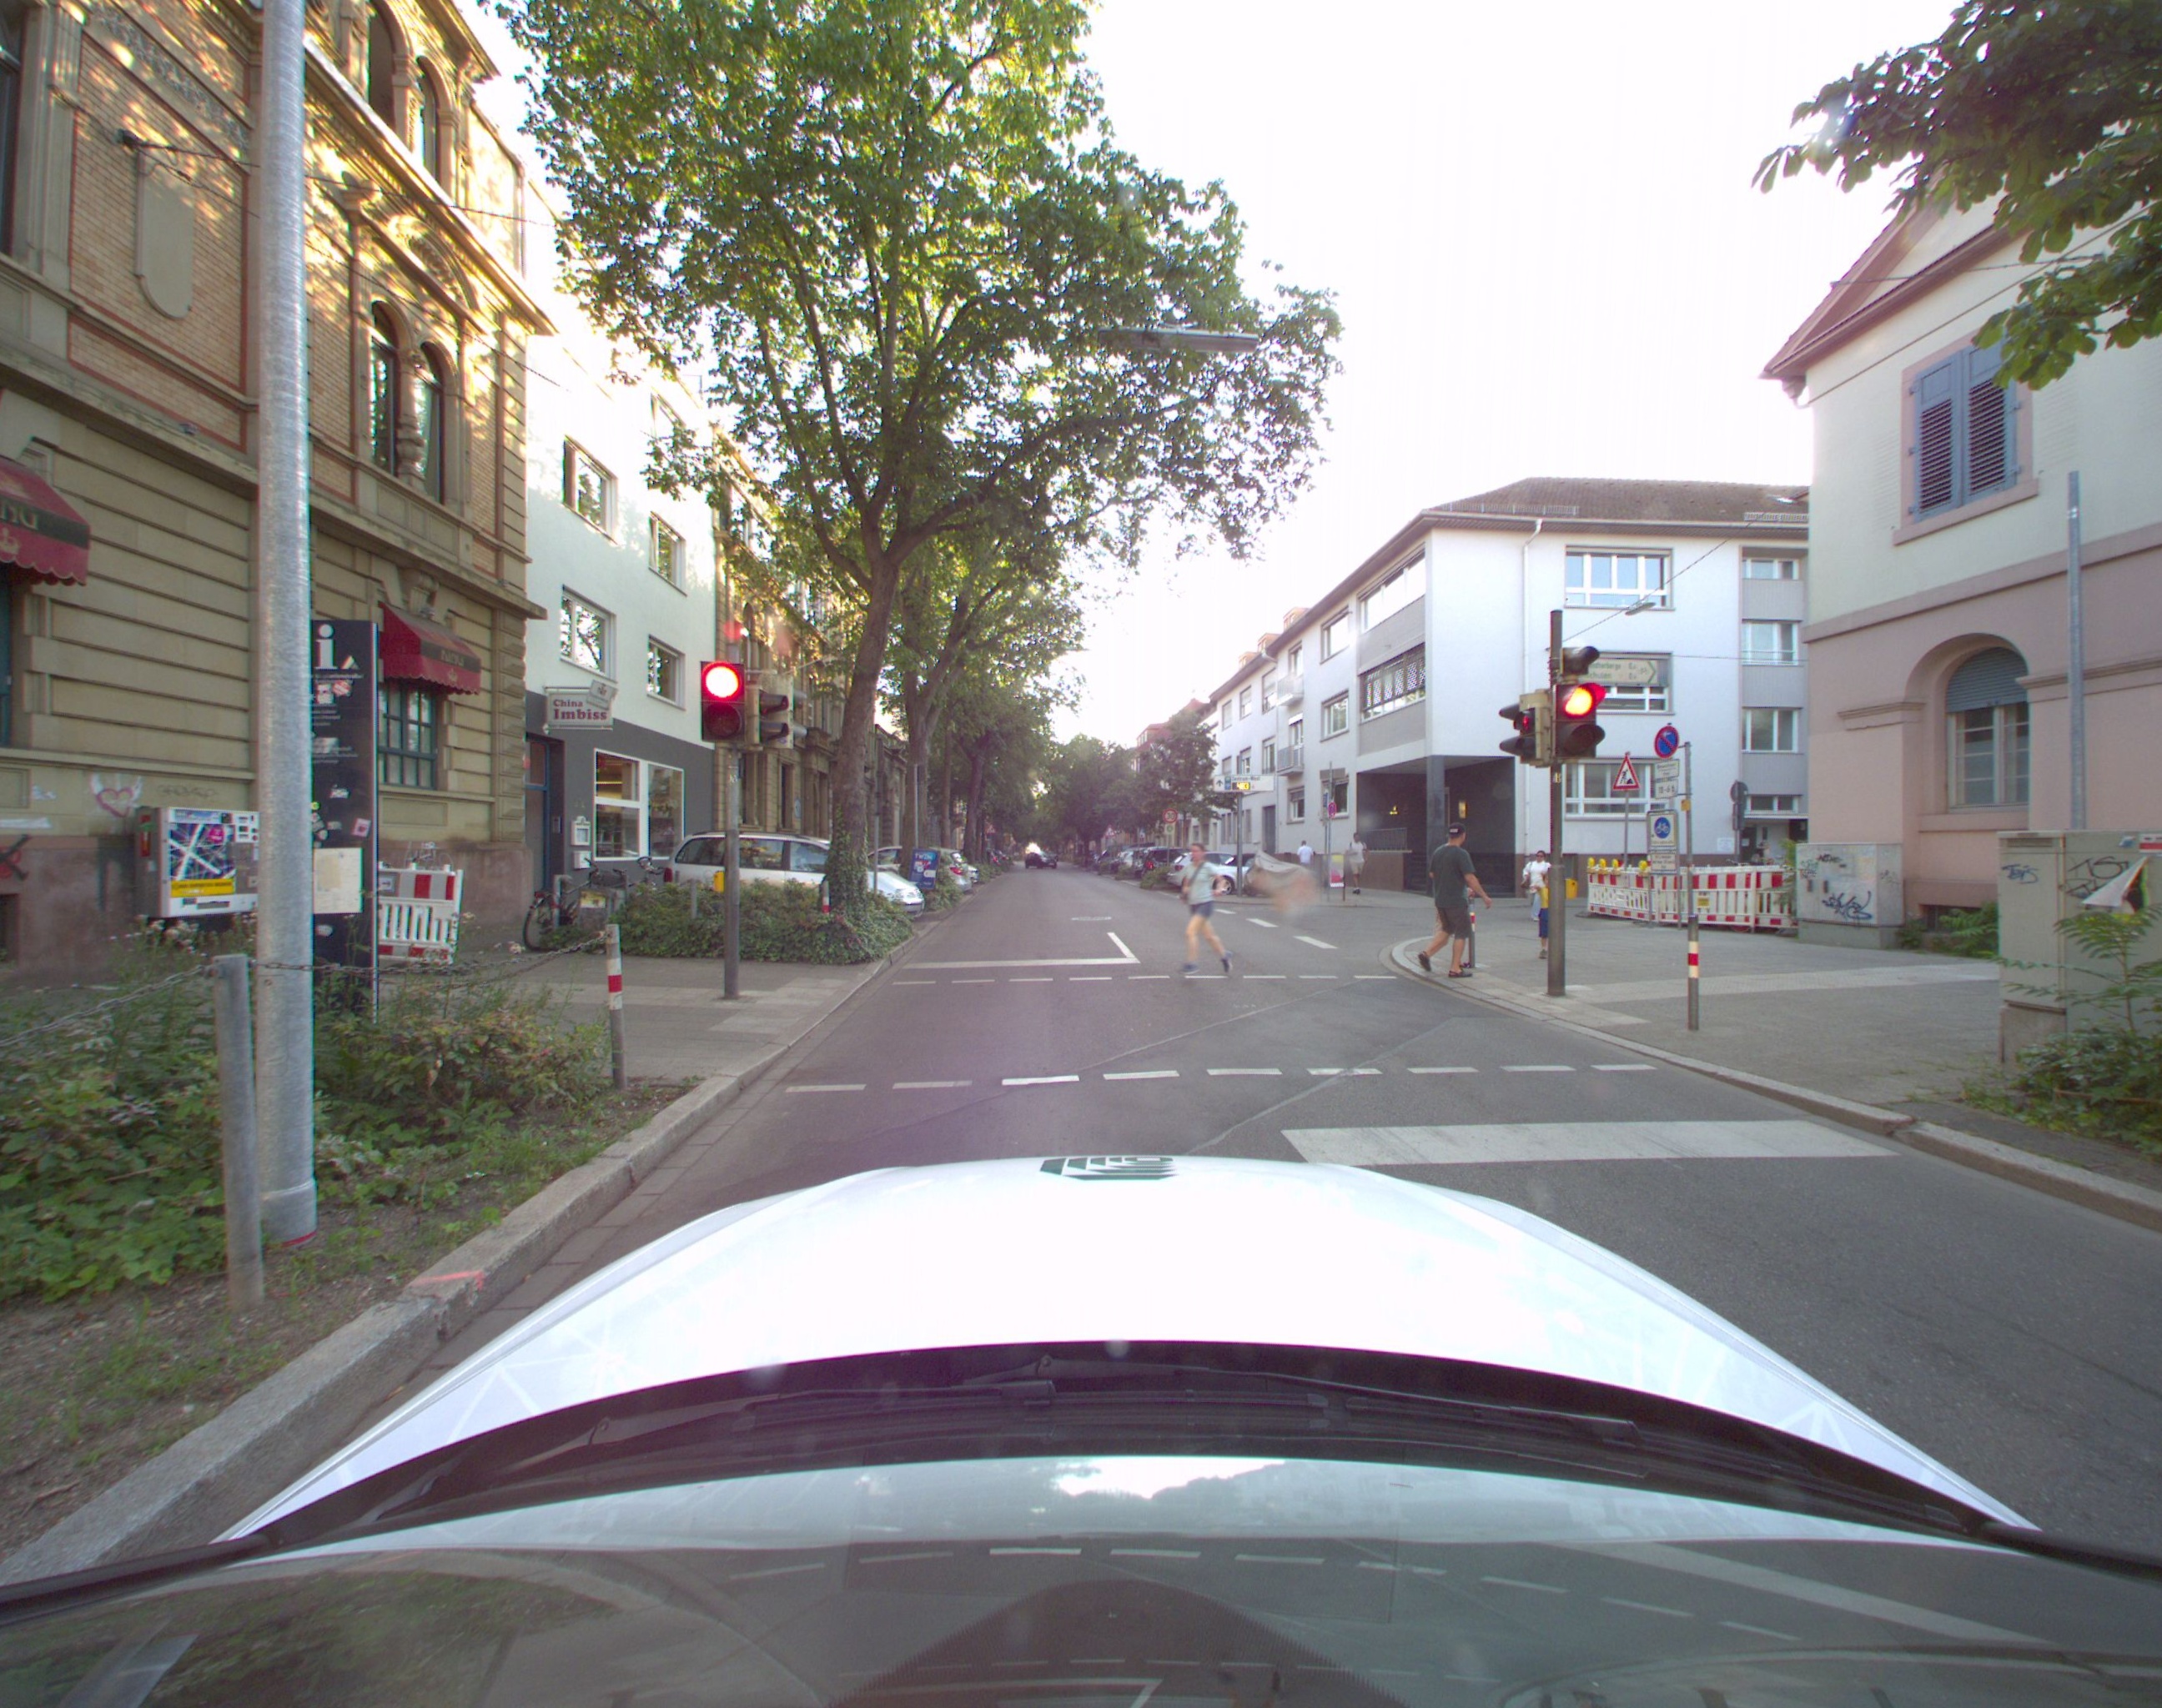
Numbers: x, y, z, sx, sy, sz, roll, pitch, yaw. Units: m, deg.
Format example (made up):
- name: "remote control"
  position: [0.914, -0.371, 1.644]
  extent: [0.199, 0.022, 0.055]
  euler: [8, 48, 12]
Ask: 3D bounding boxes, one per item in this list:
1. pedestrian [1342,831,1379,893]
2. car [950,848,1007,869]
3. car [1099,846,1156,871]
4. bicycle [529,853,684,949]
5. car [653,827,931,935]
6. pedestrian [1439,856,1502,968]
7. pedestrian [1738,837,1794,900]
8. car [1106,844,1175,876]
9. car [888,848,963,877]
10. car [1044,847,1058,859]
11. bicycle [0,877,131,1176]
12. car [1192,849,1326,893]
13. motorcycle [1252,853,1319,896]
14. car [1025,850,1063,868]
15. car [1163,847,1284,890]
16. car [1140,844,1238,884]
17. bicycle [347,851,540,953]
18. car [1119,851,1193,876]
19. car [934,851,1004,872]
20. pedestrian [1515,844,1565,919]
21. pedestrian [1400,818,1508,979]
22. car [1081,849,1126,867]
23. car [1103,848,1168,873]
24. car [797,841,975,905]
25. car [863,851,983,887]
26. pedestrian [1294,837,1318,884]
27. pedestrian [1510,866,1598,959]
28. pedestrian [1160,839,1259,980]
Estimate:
- name: "pedestrian"
  position: [8.483, 0.243, 24.786]
  extent: [0.765, 1.841, 0.942]
  euler: [0, 0, -3]
- name: "car"
  position: [-8.454, 0.345, 67.576]
  extent: [4.538, 1.691, 1.831]
  euler: [0, 0, -3]
- name: "car"
  position: [3.344, 0.310, 59.364]
  extent: [4.006, 1.830, 1.705]
  euler: [0, 0, -4]
- name: "bicycle"
  position: [-6.635, 0.595, 11.607]
  extent: [0.732, 1.186, 2.632]
  euler: [1, 0, -2]
- name: "car"
  position: [-5.189, 0.454, 15.187]
  extent: [4.543, 1.835, 1.829]
  euler: [-1, 0, -7]
- name: "pedestrian"
  position: [4.782, 0.696, 10.012]
  extent: [0.537, 1.335, 0.506]
  euler: [0, 0, 1]
- name: "pedestrian"
  position: [19.306, 0.395, 22.976]
  extent: [0.767, 1.752, 0.932]
  euler: [0, 0, -3]
- name: "car"
  position: [3.574, 0.351, 49.228]
  extent: [4.006, 1.815, 1.705]
  euler: [-1, 0, -4]
- name: "car"
  position: [-8.940, 0.473, 47.081]
  extent: [4.030, 1.590, 1.831]
  euler: [0, 0, -3]
- name: "car"
  position: [-4.190, -0.112, 113.602]
  extent: [1.822, 1.561, 4.021]
  euler: [1, 0, -4]
- name: "bicycle"
  position: [-4.484, 0.697, 2.598]
  extent: [0.509, 1.153, 2.099]
  euler: [2, 0, -3]
- name: "car"
  position: [5.787, 0.546, 26.731]
  extent: [4.005, 1.342, 1.705]
  euler: [-1, 0, -3]
- name: "motorcycle"
  position: [5.898, 0.584, 23.558]
  extent: [1.791, 1.199, 0.614]
  euler: [-1, 0, 5]
- name: "car"
  position: [-3.345, 0.454, 73.237]
  extent: [1.915, 1.578, 3.954]
  euler: [1, 0, -29]
- name: "car"
  position: [5.080, 0.509, 29.327]
  extent: [4.006, 1.442, 1.705]
  euler: [-1, 0, -4]
- name: "car"
  position: [4.702, 0.422, 35.713]
  extent: [4.006, 1.690, 1.705]
  euler: [-1, 0, -4]
- name: "bicycle"
  position: [-8.436, 0.569, 10.972]
  extent: [0.635, 1.201, 2.562]
  euler: [0, 0, -2]
- name: "car"
  position: [4.306, 0.527, 46.972]
  extent: [4.006, 1.409, 1.705]
  euler: [-1, 0, -4]
- name: "car"
  position: [-7.596, 0.500, 55.421]
  extent: [4.538, 1.410, 1.831]
  euler: [0, 0, -3]
- name: "pedestrian"
  position: [9.549, 0.546, 16.943]
  extent: [0.766, 1.500, 0.807]
  euler: [1, 1, 40]
- name: "pedestrian"
  position: [4.371, 0.497, 9.591]
  extent: [0.886, 1.815, 0.793]
  euler: [0, 0, -4]
- name: "car"
  position: [2.032, 0.377, 74.282]
  extent: [4.006, 1.602, 1.705]
  euler: [0, 0, -4]
- name: "car"
  position: [3.464, 0.414, 52.080]
  extent: [4.006, 1.530, 1.705]
  euler: [0, 0, -4]
- name: "car"
  position: [-5.320, 0.498, 22.737]
  extent: [4.538, 1.689, 1.831]
  euler: [0, 0, -3]
- name: "car"
  position: [-6.309, 0.578, 32.970]
  extent: [4.538, 1.372, 1.831]
  euler: [0, 0, -3]
- name: "pedestrian"
  position: [8.473, 0.236, 30.672]
  extent: [0.701, 1.752, 0.699]
  euler: [0, 0, 0]
- name: "pedestrian"
  position: [6.152, 0.732, 10.619]
  extent: [0.566, 1.121, 0.833]
  euler: [-2, 1, -13]
- name: "pedestrian"
  position: [1.515, 0.605, 9.577]
  extent: [0.985, 1.557, 0.693]
  euler: [0, 0, -43]
